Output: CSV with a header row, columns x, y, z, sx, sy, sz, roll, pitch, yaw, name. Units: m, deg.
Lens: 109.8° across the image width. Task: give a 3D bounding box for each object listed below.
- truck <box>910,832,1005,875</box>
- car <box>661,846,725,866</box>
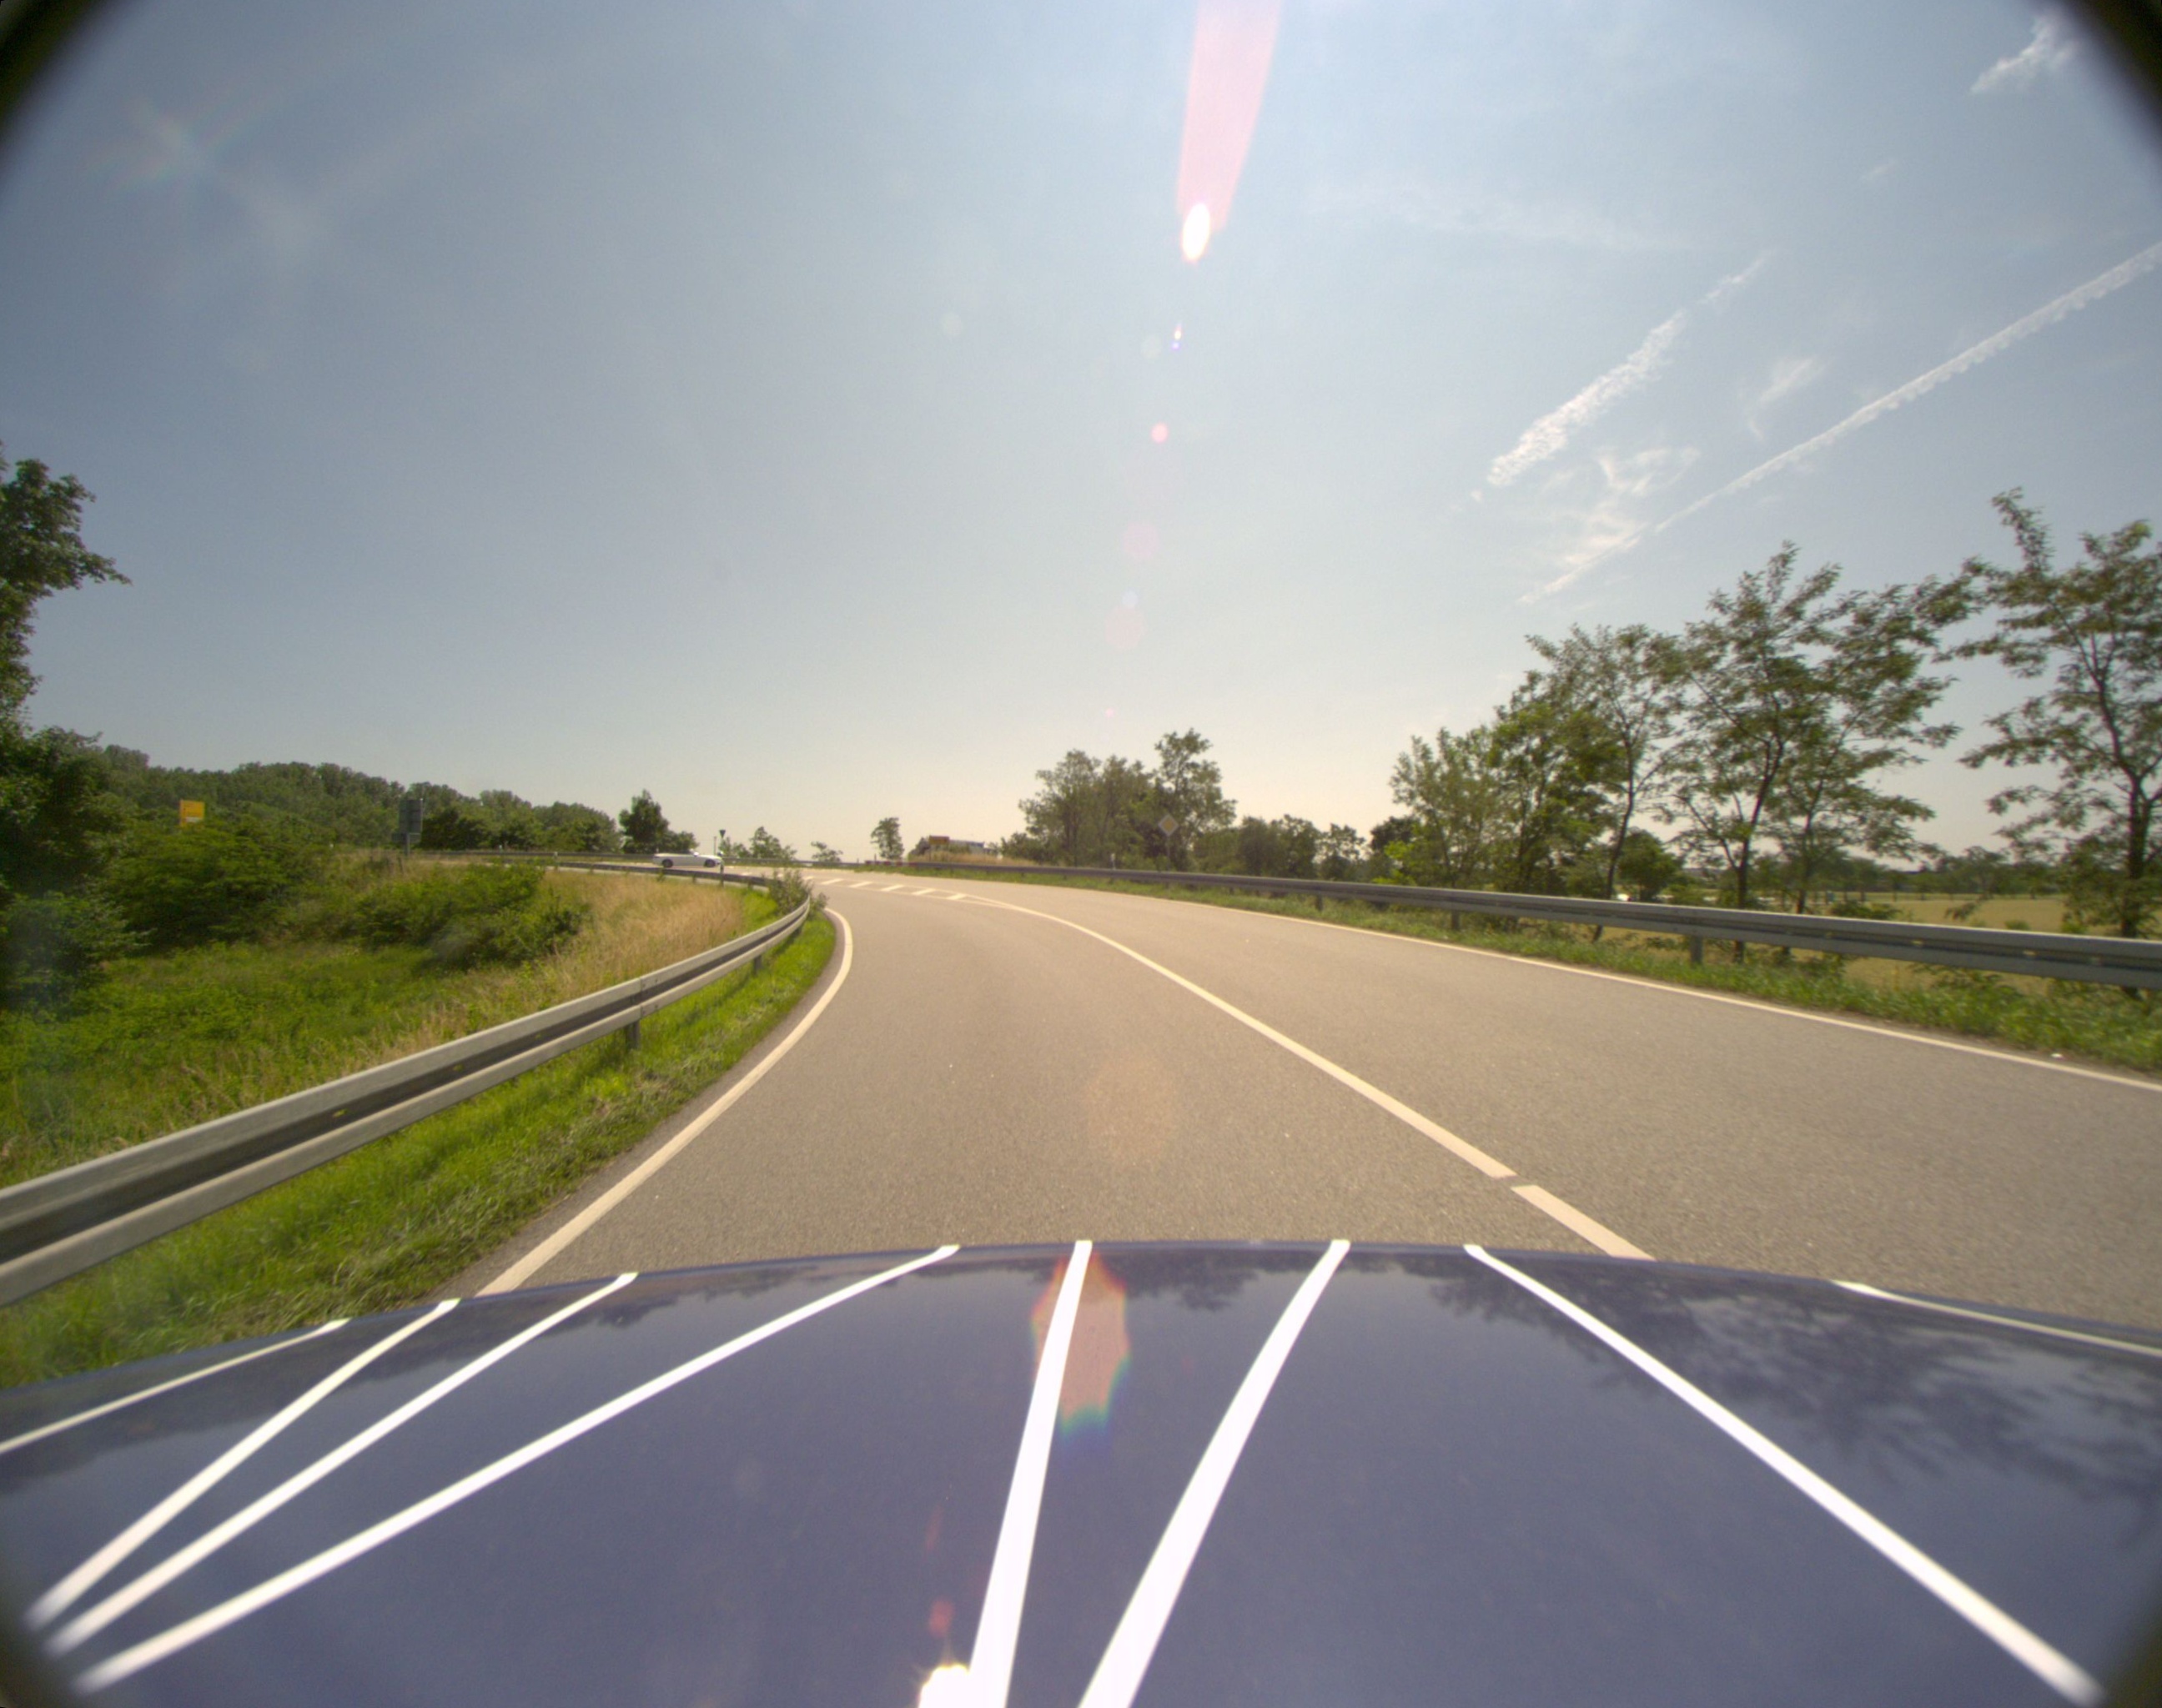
x,y,z,sx,sy,sz,roll,pitch,yaw,name
-12.162,0.052,76.019,2.814,3.646,9.974,0,-4,38,truck
-29.053,0.170,57.055,4.115,1.406,1.811,-1,-1,-23,car
